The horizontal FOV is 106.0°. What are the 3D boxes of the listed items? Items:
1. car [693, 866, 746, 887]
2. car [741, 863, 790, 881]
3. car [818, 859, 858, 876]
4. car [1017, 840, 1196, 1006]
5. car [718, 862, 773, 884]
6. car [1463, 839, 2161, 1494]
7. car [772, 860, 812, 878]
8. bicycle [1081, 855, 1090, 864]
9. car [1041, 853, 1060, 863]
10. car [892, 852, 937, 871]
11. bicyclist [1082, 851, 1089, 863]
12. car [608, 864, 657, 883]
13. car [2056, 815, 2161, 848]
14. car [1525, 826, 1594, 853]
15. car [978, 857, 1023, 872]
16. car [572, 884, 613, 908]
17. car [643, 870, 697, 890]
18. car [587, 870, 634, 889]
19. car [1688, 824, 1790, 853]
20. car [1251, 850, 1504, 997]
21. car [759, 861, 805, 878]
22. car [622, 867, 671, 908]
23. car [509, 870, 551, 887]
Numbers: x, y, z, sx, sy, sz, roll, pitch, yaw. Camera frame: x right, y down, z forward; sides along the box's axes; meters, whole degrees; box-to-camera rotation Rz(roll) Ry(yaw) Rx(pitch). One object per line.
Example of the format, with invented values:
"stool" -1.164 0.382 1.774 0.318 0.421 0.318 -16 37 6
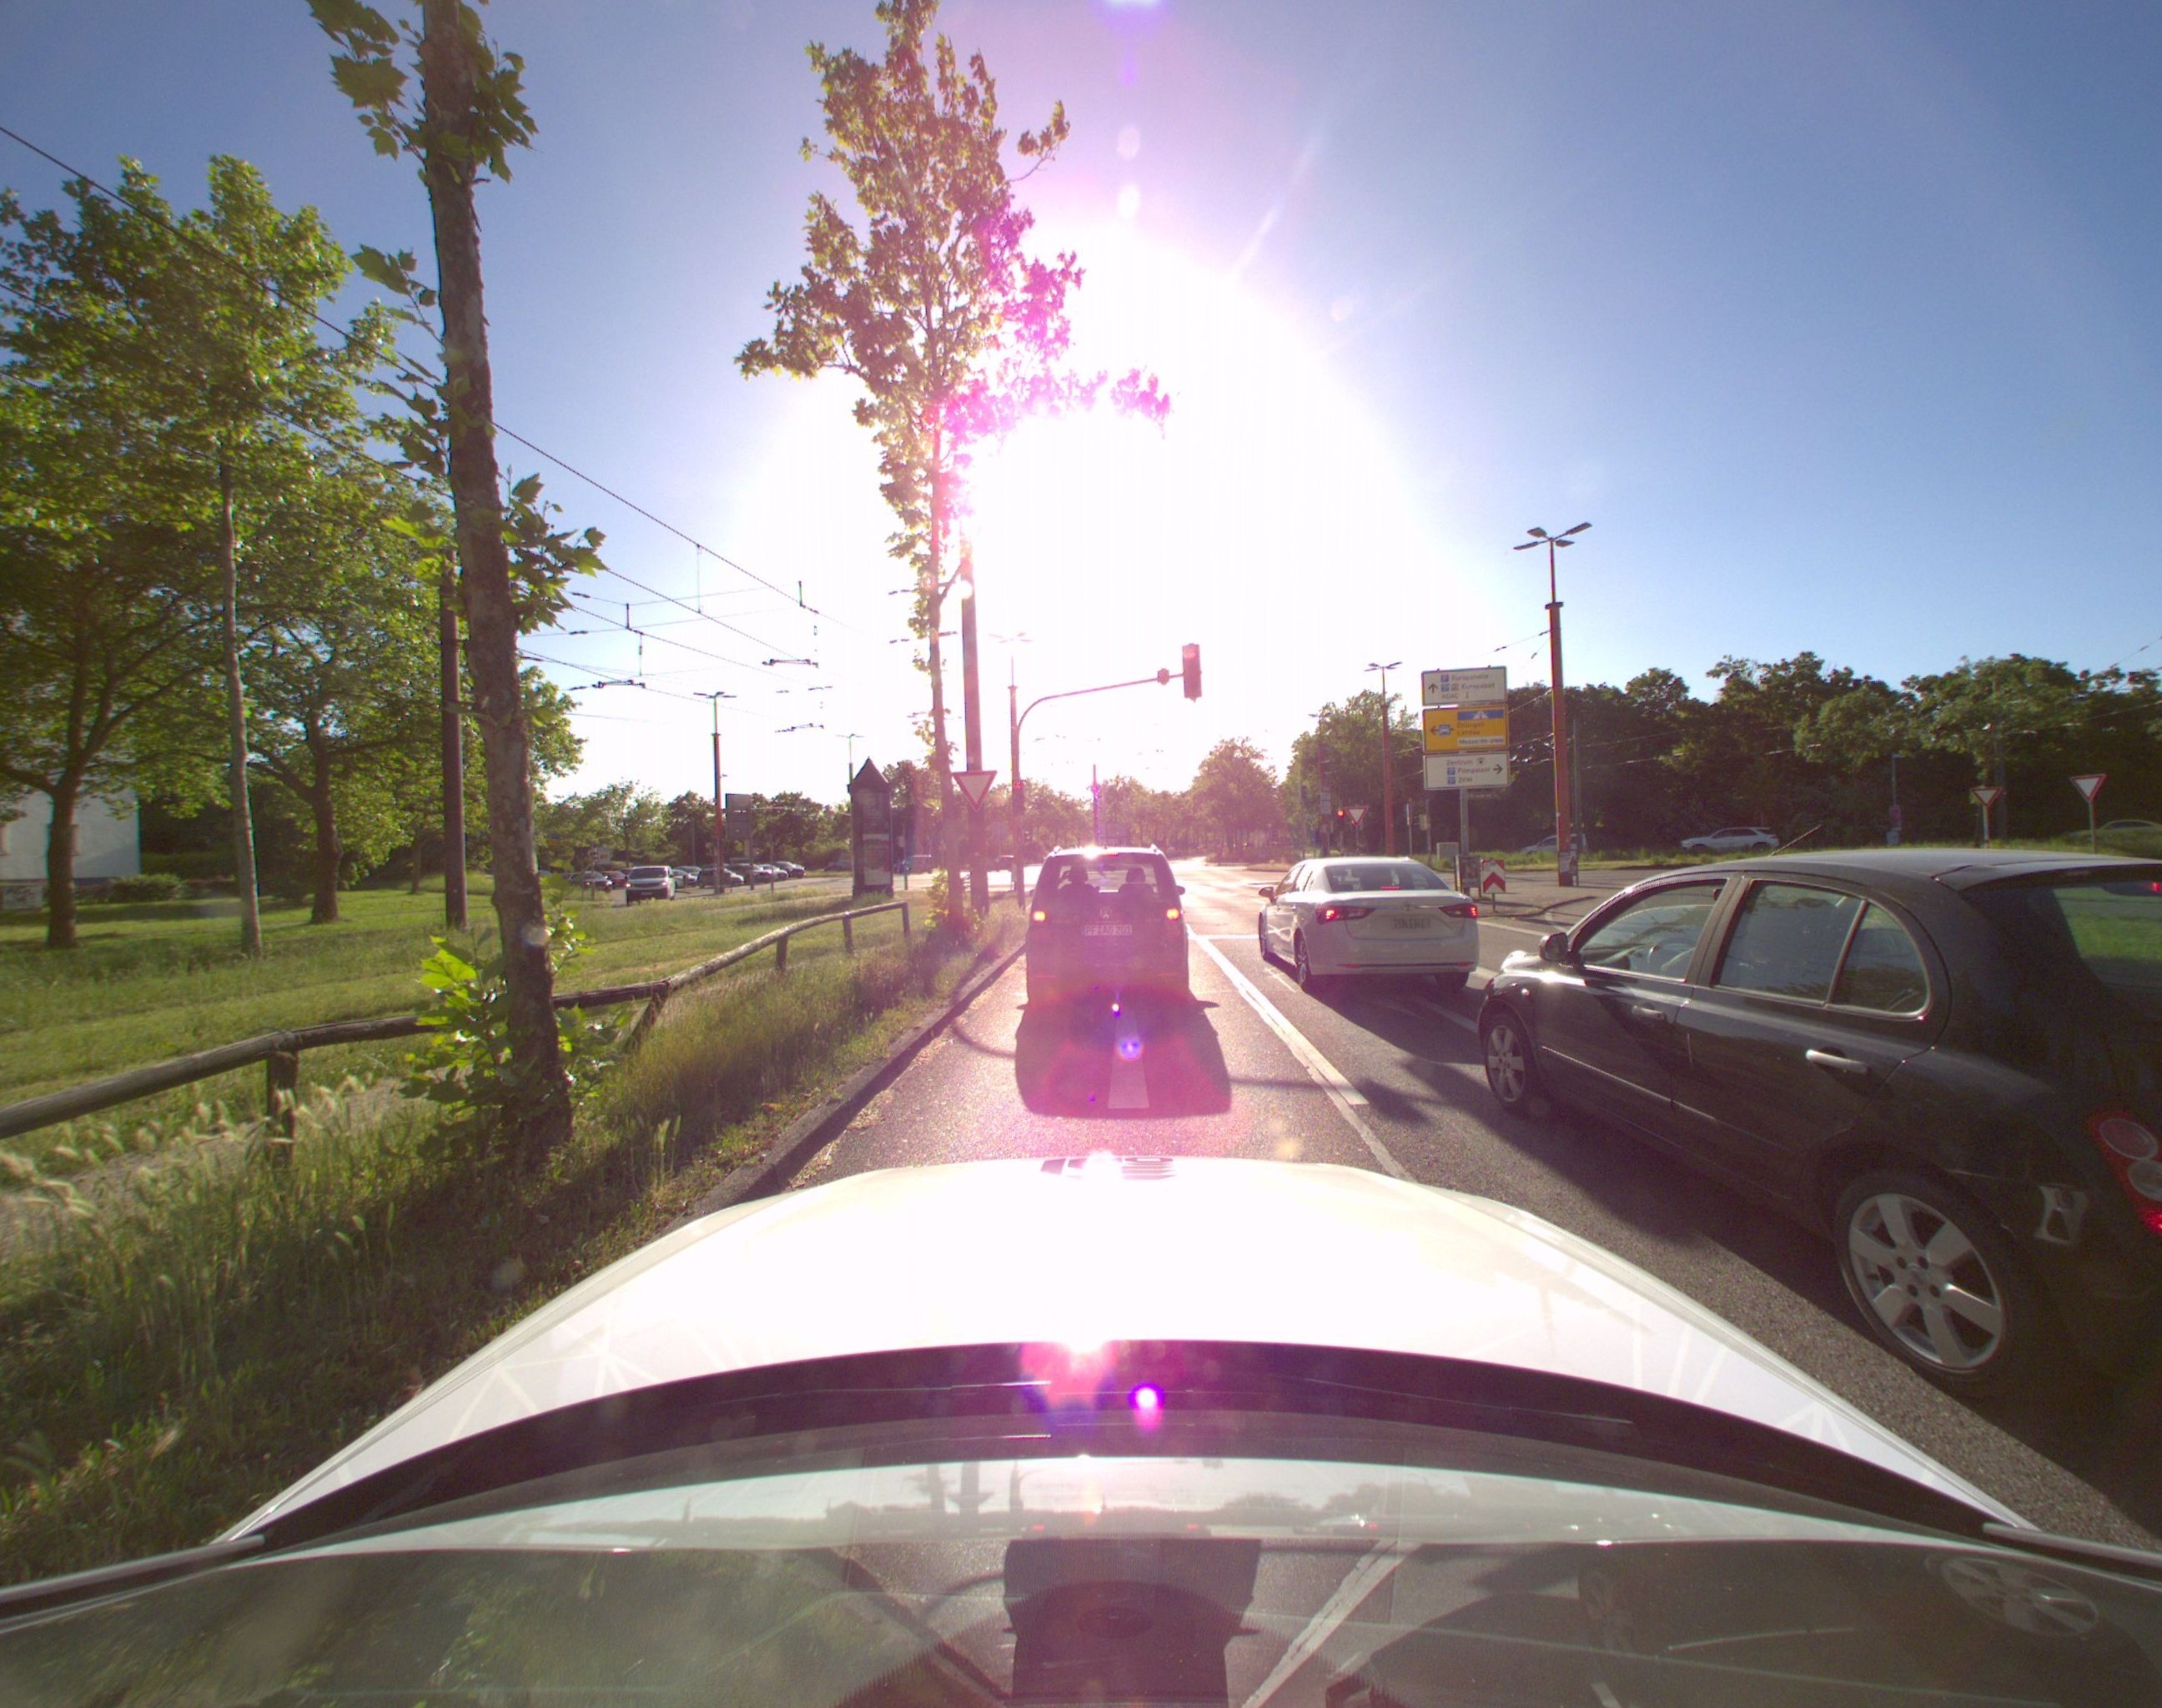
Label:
"car" -27.332 1.694 61.581 3.793 1.441 1.667 -1 0 29
"car" -26.834 1.522 69.200 4.102 1.415 1.553 -1 0 28
"car" -26.705 1.452 89.441 4.080 1.791 1.810 -1 0 28
"car" 0.361 0.689 10.094 1.731 1.602 4.329 0 -1 3
"car" -26.927 1.515 65.363 4.583 1.647 1.667 -1 0 32
"car" 3.174 0.695 3.500 1.570 1.440 3.443 0 -1 2
"car" -31.564 1.633 88.965 4.081 1.791 1.809 -1 0 26
"bicycle" 0.748 0.861 134.169 0.971 1.388 2.987 -1 0 9
"car" -4.541 0.592 121.109 1.638 1.403 4.150 -1 0 17
"car" -16.330 0.742 79.948 4.081 1.791 1.809 -1 0 26
"bicyclist" 0.749 0.483 134.212 0.971 1.904 1.053 -1 0 8
"car" -40.456 1.726 73.444 4.583 1.647 1.767 -1 0 32
"car" 56.794 -1.223 44.506 4.164 1.681 1.667 -1 0 28
"car" 33.575 -1.019 57.252 4.080 1.750 1.667 -1 0 28
"car" -7.965 1.064 80.624 4.080 1.403 1.666 -1 0 27
"car" -36.560 3.099 60.935 1.666 1.618 4.241 -1 0 -45
"car" -32.666 2.073 64.745 4.577 1.520 1.667 -1 0 32
"car" -39.443 2.149 68.264 4.145 1.520 1.667 -1 0 32
"car" 40.172 -0.928 49.873 4.616 1.625 1.667 -1 0 28
"car" 3.368 0.709 10.199 1.792 1.440 4.329 0 0 3
"car" -26.730 1.381 72.824 4.102 1.415 1.553 -1 0 28
"car" -21.906 1.633 41.205 1.836 1.821 4.863 -1 0 -24
"car" -51.126 2.259 75.536 4.145 1.520 1.667 -1 0 32
